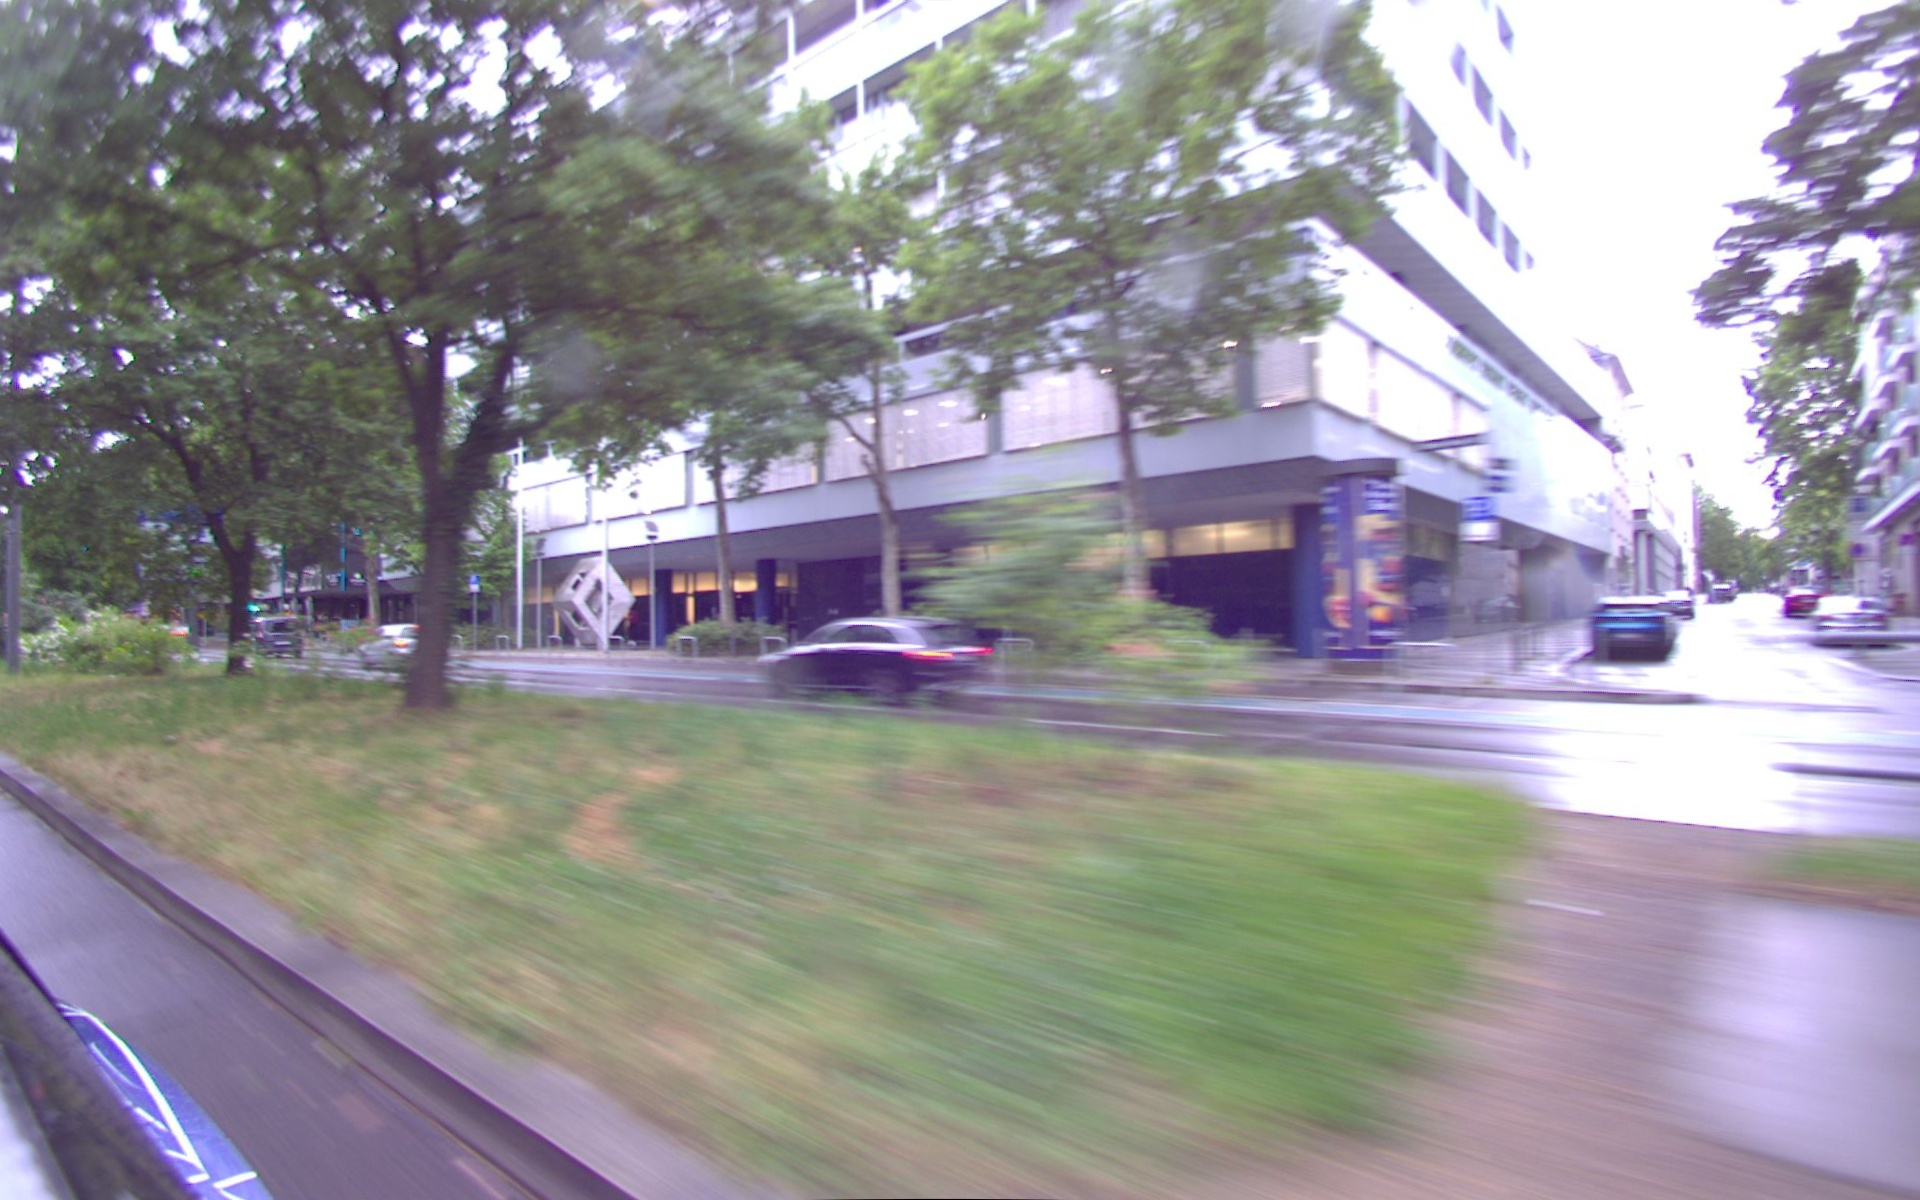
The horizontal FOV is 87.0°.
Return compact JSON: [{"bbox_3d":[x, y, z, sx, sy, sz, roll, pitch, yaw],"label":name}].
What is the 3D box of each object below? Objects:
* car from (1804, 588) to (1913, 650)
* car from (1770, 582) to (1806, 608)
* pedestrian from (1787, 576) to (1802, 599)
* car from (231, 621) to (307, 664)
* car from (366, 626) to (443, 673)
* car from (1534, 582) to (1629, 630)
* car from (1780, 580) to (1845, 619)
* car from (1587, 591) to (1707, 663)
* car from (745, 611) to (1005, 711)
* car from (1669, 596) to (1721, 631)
[{"bbox_3d":[26.312,0.556,29.775,1.997,1.697,3.950,-2,-1,37],"label":"car"},{"bbox_3d":[53.985,-0.332,65.996,1.702,1.581,3.807,-1,0,38],"label":"car"},{"bbox_3d":[60.763,-0.928,73.661,0.556,1.627,0.561,-1,0,-6],"label":"pedestrian"},{"bbox_3d":[-30.581,1.854,44.756,4.283,1.815,1.971,-3,-3,44],"label":"car"},{"bbox_3d":[-18.281,1.612,33.271,3.560,1.474,1.148,-2,-3,43],"label":"car"},{"bbox_3d":[21.937,0.253,35.644,1.999,1.553,4.935,-2,-3,41],"label":"car"},{"bbox_3d":[39.643,-0.007,47.141,1.997,1.697,3.950,-2,-1,37],"label":"car"},{"bbox_3d":[18.450,0.677,27.088,2.000,1.705,4.935,2,1,42],"label":"car"},{"bbox_3d":[-1.660,1.049,18.390,4.756,1.503,1.972,-3,0,43],"label":"car"},{"bbox_3d":[37.161,0.682,51.146,1.997,1.697,3.950,-2,-1,37],"label":"car"}]
